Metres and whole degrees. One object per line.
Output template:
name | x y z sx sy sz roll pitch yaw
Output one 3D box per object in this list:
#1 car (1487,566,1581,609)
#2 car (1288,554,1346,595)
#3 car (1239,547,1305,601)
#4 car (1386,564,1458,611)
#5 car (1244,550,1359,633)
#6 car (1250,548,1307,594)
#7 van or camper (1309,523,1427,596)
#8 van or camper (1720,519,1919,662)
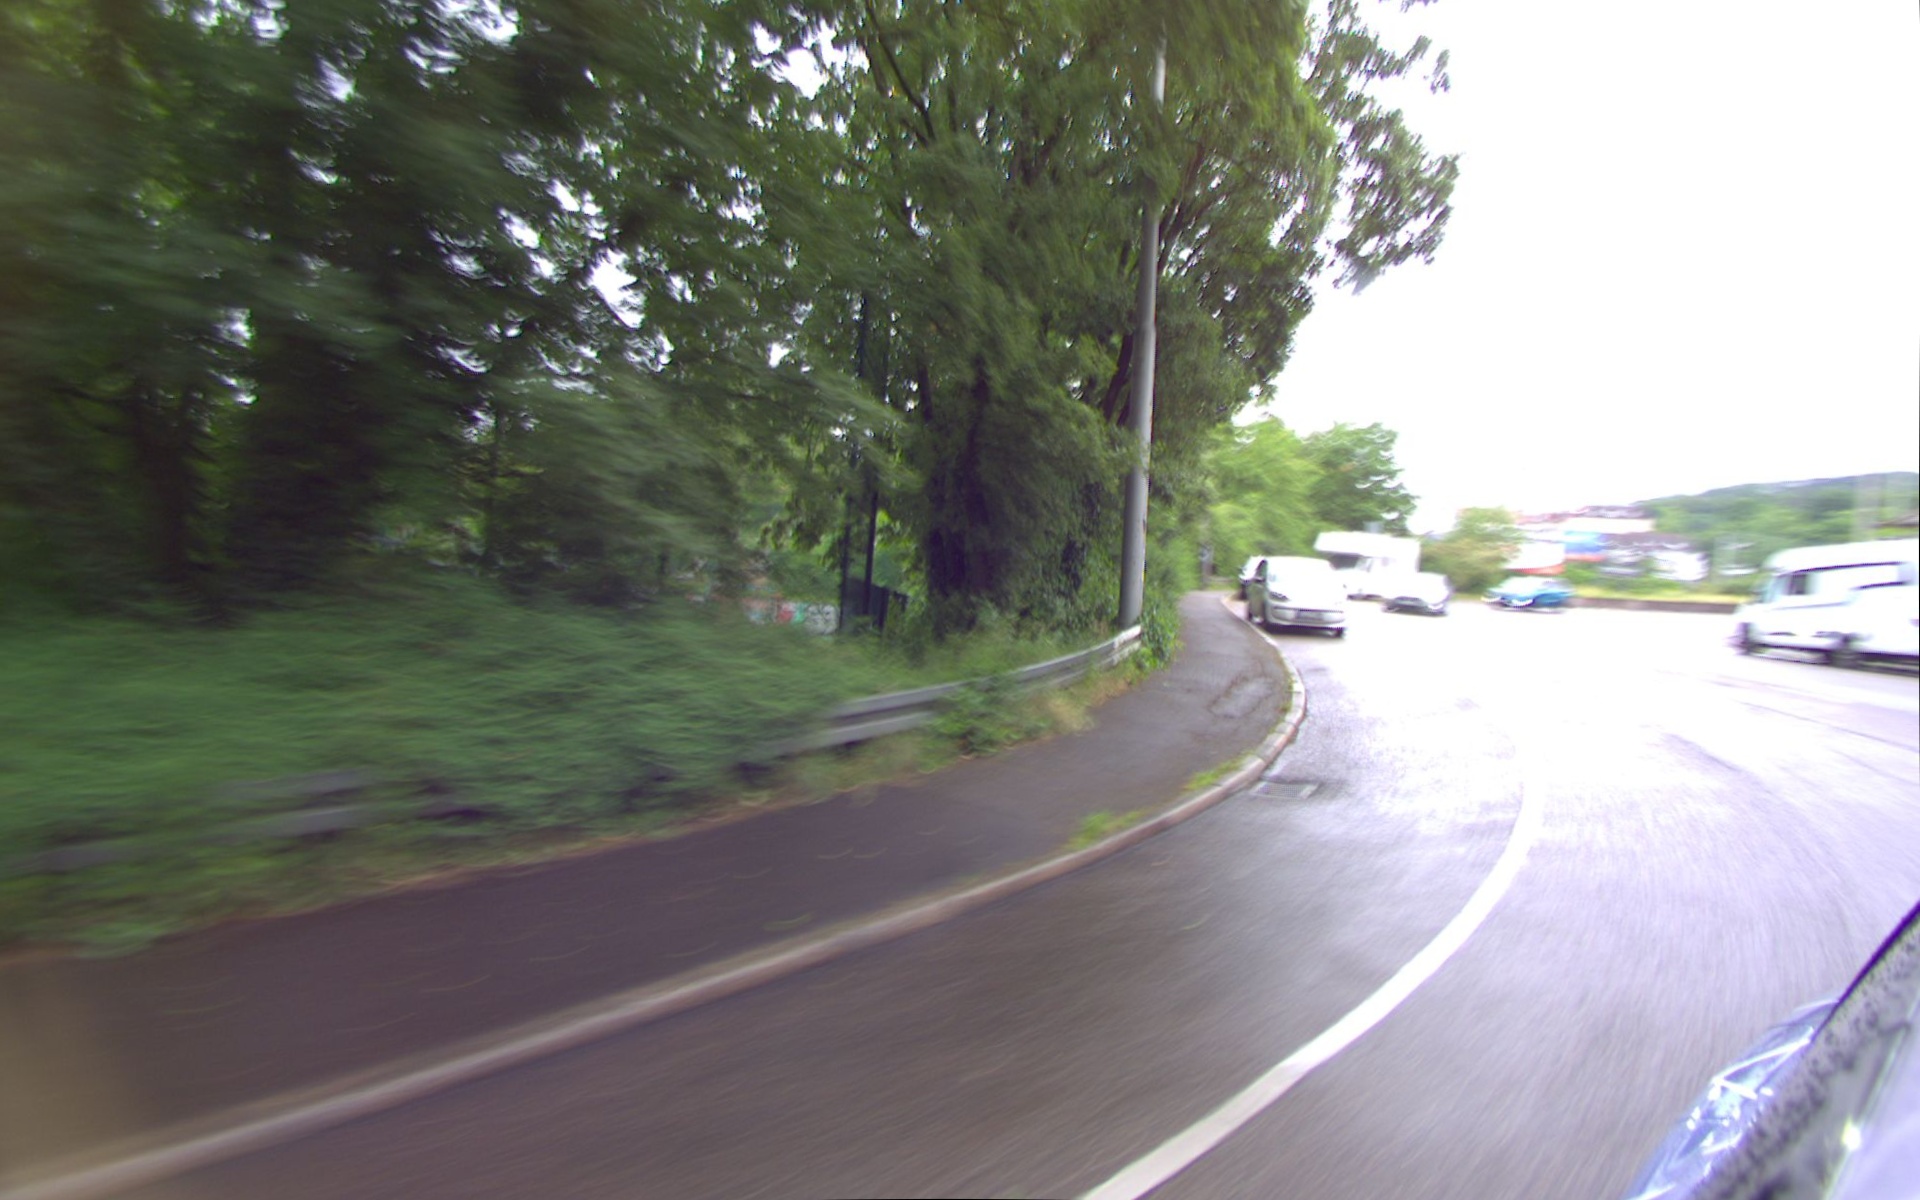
car | 27.018 -0.569 47.626 3.957 1.630 1.805 6 -2 -24
car | 15.073 -1.071 42.617 1.633 1.478 3.768 7 4 29
car | 10.271 -0.864 33.146 1.703 1.531 4.565 6 3 20
car | 16.260 -0.449 35.515 1.822 1.408 4.279 7 4 30
car | 7.068 -0.261 21.286 1.564 1.519 3.660 2 3 8
car | 12.028 -1.062 38.072 1.547 1.531 3.646 6 3 23
van or camper | 18.952 -1.844 46.859 6.172 2.979 2.395 1 5 -42
van or camper | 20.481 -0.185 22.794 2.128 2.822 7.031 5 2 10
